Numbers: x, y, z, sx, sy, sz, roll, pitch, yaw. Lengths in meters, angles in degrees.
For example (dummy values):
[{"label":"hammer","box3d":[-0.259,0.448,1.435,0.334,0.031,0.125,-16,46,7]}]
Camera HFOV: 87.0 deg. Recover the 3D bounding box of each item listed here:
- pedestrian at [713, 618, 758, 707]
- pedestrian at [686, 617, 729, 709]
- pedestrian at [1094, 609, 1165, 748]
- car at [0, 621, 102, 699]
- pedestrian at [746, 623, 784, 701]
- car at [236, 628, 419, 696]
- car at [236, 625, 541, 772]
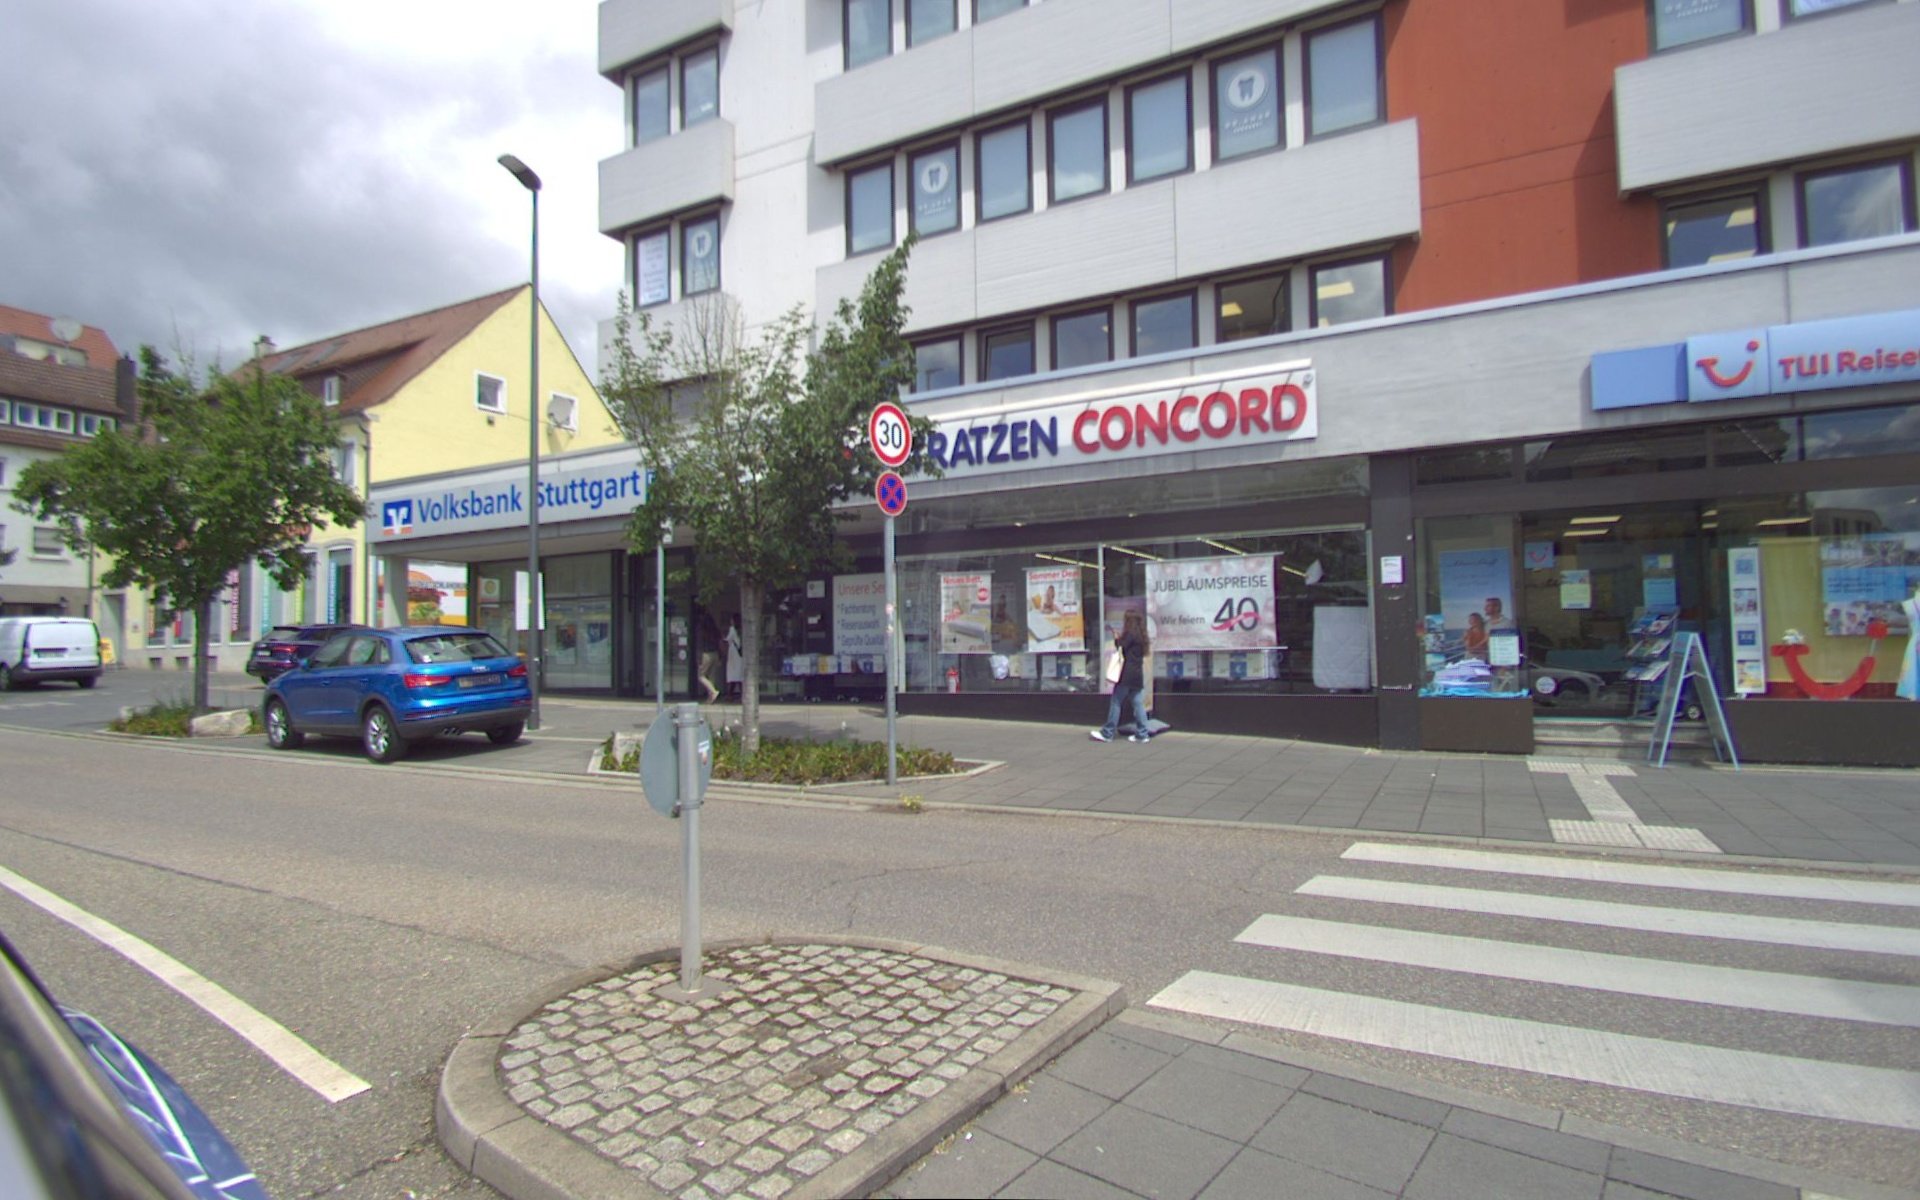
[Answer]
[{"label":"pedestrian","box3d":[-4.083,1.132,18.454,0.584,1.578,0.506,-2,-4,31]},{"label":"pedestrian","box3d":[-4.423,1.108,17.740,0.634,1.578,0.588,2,-4,-20]},{"label":"pedestrian","box3d":[2.022,0.908,12.050,0.637,1.600,0.582,-1,-2,34]},{"label":"car","box3d":[-24.073,1.477,25.856,4.455,1.827,1.745,-1,-1,28]},{"label":"pedestrian","box3d":[-4.373,1.387,22.722,0.582,1.718,0.640,-3,-4,20]},{"label":"car","box3d":[-16.023,1.515,25.813,1.661,1.570,3.604,-1,-2,28]},{"label":"car","box3d":[-7.626,1.175,13.390,4.318,1.611,1.681,-1,0,33]}]
